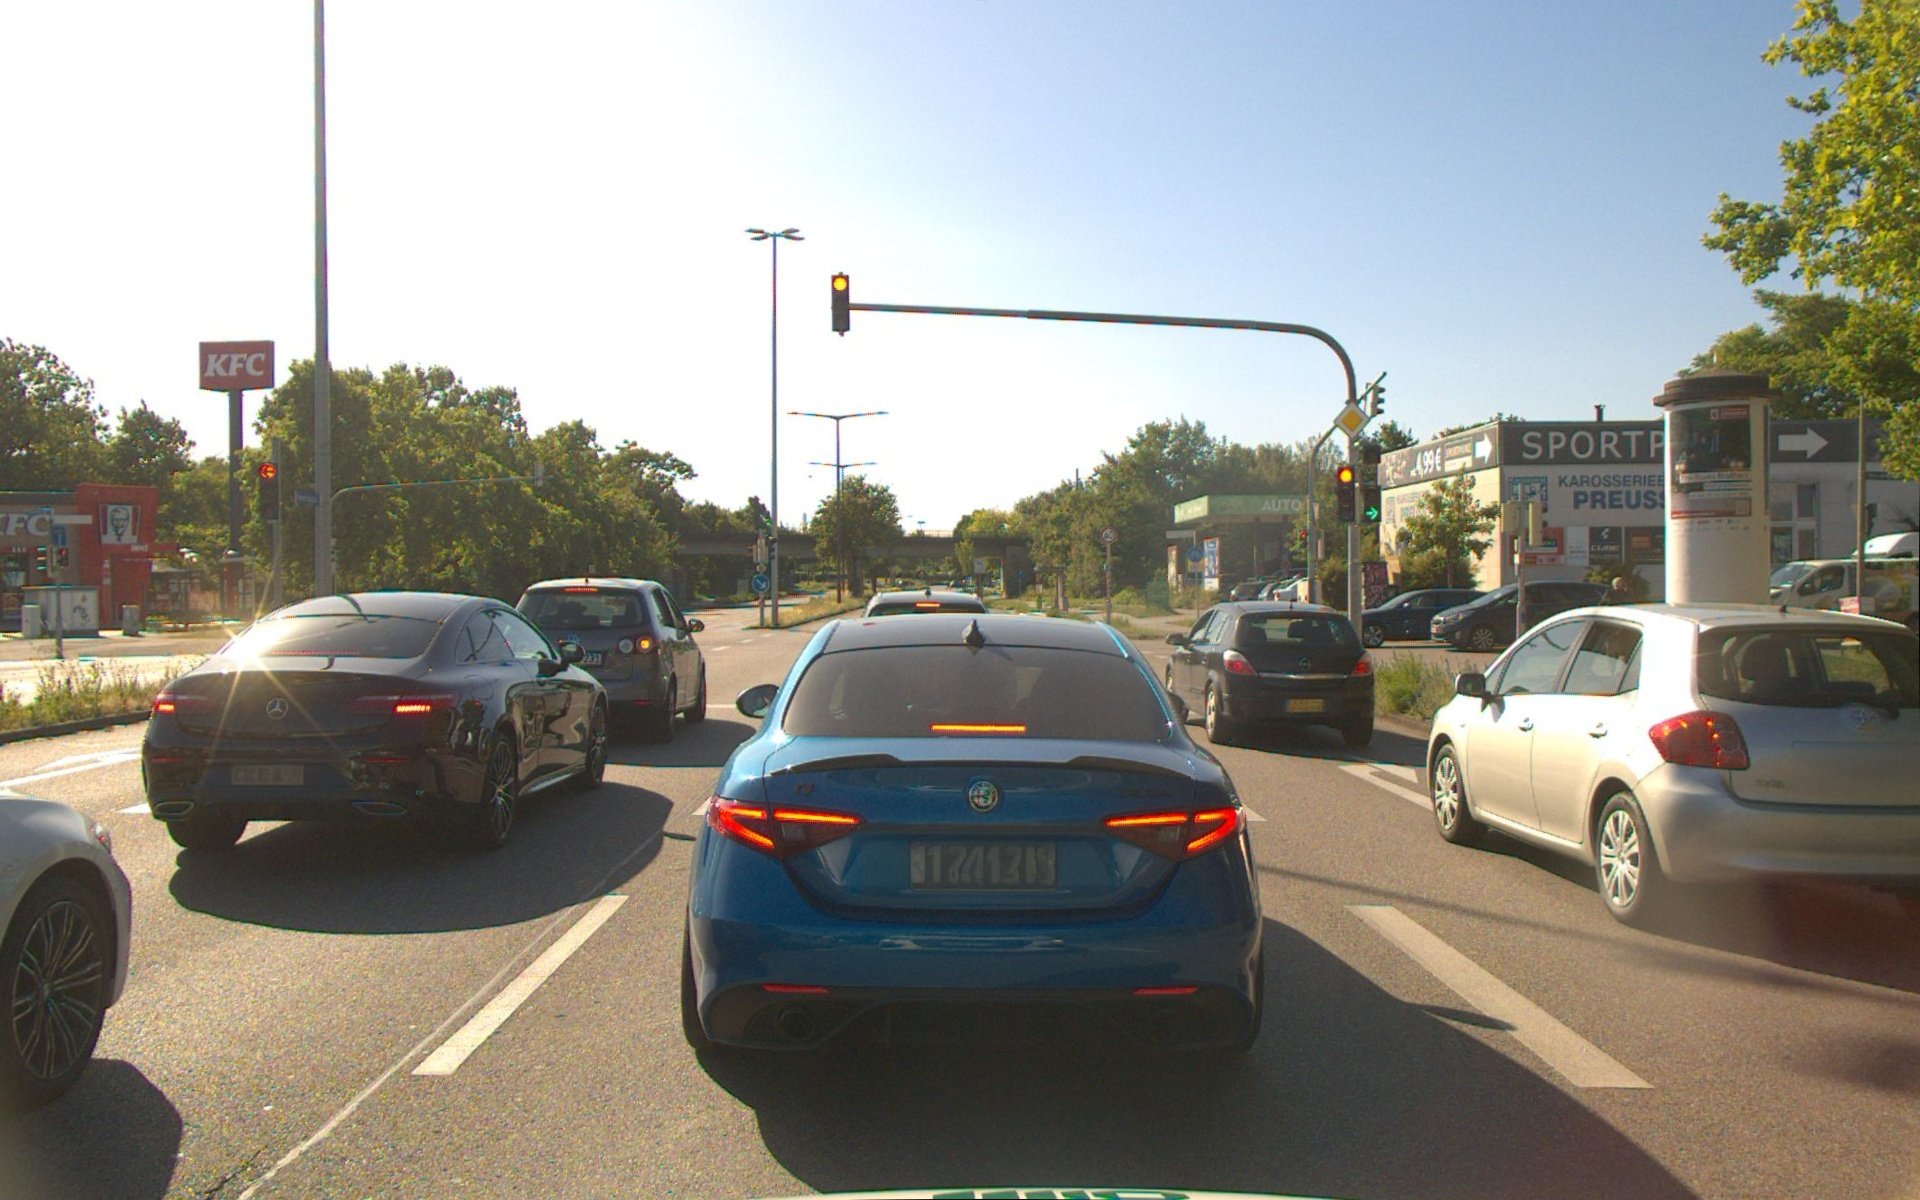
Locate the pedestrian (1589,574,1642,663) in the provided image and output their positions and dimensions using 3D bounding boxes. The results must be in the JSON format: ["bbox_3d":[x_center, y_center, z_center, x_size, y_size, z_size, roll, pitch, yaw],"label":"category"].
[{"bbox_3d":[12.661,0.357,31.949,0.800,1.698,0.514,1,-1,-1],"label":"pedestrian"}]

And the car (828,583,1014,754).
[{"bbox_3d":[-0.324,0.633,16.924,1.669,1.523,3.719,1,0,1],"label":"car"}]

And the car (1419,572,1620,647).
[{"bbox_3d":[13.284,0.223,39.409,4.219,1.678,1.637,1,0,-2],"label":"car"}]

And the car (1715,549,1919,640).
[{"bbox_3d":[20.933,-0.142,39.607,4.854,2.071,1.880,-1,0,-2],"label":"car"}]

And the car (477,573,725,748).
[{"bbox_3d":[-3.594,0.567,17.341,1.776,1.578,4.351,1,0,-2],"label":"car"}]

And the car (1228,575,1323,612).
[{"bbox_3d":[14.246,-0.269,74.900,3.905,1.579,2.000,1,0,0],"label":"car"}]

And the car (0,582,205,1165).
[{"bbox_3d":[-3.372,0.713,3.143,1.775,1.512,4.596,0,0,0],"label":"car"}]

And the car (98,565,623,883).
[{"bbox_3d":[-3.460,0.610,10.553,1.775,1.578,4.542,1,0,-1],"label":"car"}]

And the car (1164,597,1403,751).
[{"bbox_3d":[3.407,0.715,18.216,1.699,1.467,4.370,1,0,-1],"label":"car"}]

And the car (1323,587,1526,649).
[{"bbox_3d":[11.917,0.455,42.636,4.722,1.493,1.758,1,0,-3],"label":"car"}]

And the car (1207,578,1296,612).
[{"bbox_3d":[14.615,-0.237,83.006,3.925,1.579,1.990,1,0,-18],"label":"car"}]

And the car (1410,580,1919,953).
[{"bbox_3d":[3.935,0.693,9.046,1.747,1.564,4.107,1,0,-1],"label":"car"}]

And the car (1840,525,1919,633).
[{"bbox_3d":[26.319,-0.579,43.059,5.715,2.719,2.000,-1,-1,0],"label":"car"}]

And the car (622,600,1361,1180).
[{"bbox_3d":[0.108,0.750,6.095,1.870,1.447,3.719,1,0,1],"label":"car"}]
